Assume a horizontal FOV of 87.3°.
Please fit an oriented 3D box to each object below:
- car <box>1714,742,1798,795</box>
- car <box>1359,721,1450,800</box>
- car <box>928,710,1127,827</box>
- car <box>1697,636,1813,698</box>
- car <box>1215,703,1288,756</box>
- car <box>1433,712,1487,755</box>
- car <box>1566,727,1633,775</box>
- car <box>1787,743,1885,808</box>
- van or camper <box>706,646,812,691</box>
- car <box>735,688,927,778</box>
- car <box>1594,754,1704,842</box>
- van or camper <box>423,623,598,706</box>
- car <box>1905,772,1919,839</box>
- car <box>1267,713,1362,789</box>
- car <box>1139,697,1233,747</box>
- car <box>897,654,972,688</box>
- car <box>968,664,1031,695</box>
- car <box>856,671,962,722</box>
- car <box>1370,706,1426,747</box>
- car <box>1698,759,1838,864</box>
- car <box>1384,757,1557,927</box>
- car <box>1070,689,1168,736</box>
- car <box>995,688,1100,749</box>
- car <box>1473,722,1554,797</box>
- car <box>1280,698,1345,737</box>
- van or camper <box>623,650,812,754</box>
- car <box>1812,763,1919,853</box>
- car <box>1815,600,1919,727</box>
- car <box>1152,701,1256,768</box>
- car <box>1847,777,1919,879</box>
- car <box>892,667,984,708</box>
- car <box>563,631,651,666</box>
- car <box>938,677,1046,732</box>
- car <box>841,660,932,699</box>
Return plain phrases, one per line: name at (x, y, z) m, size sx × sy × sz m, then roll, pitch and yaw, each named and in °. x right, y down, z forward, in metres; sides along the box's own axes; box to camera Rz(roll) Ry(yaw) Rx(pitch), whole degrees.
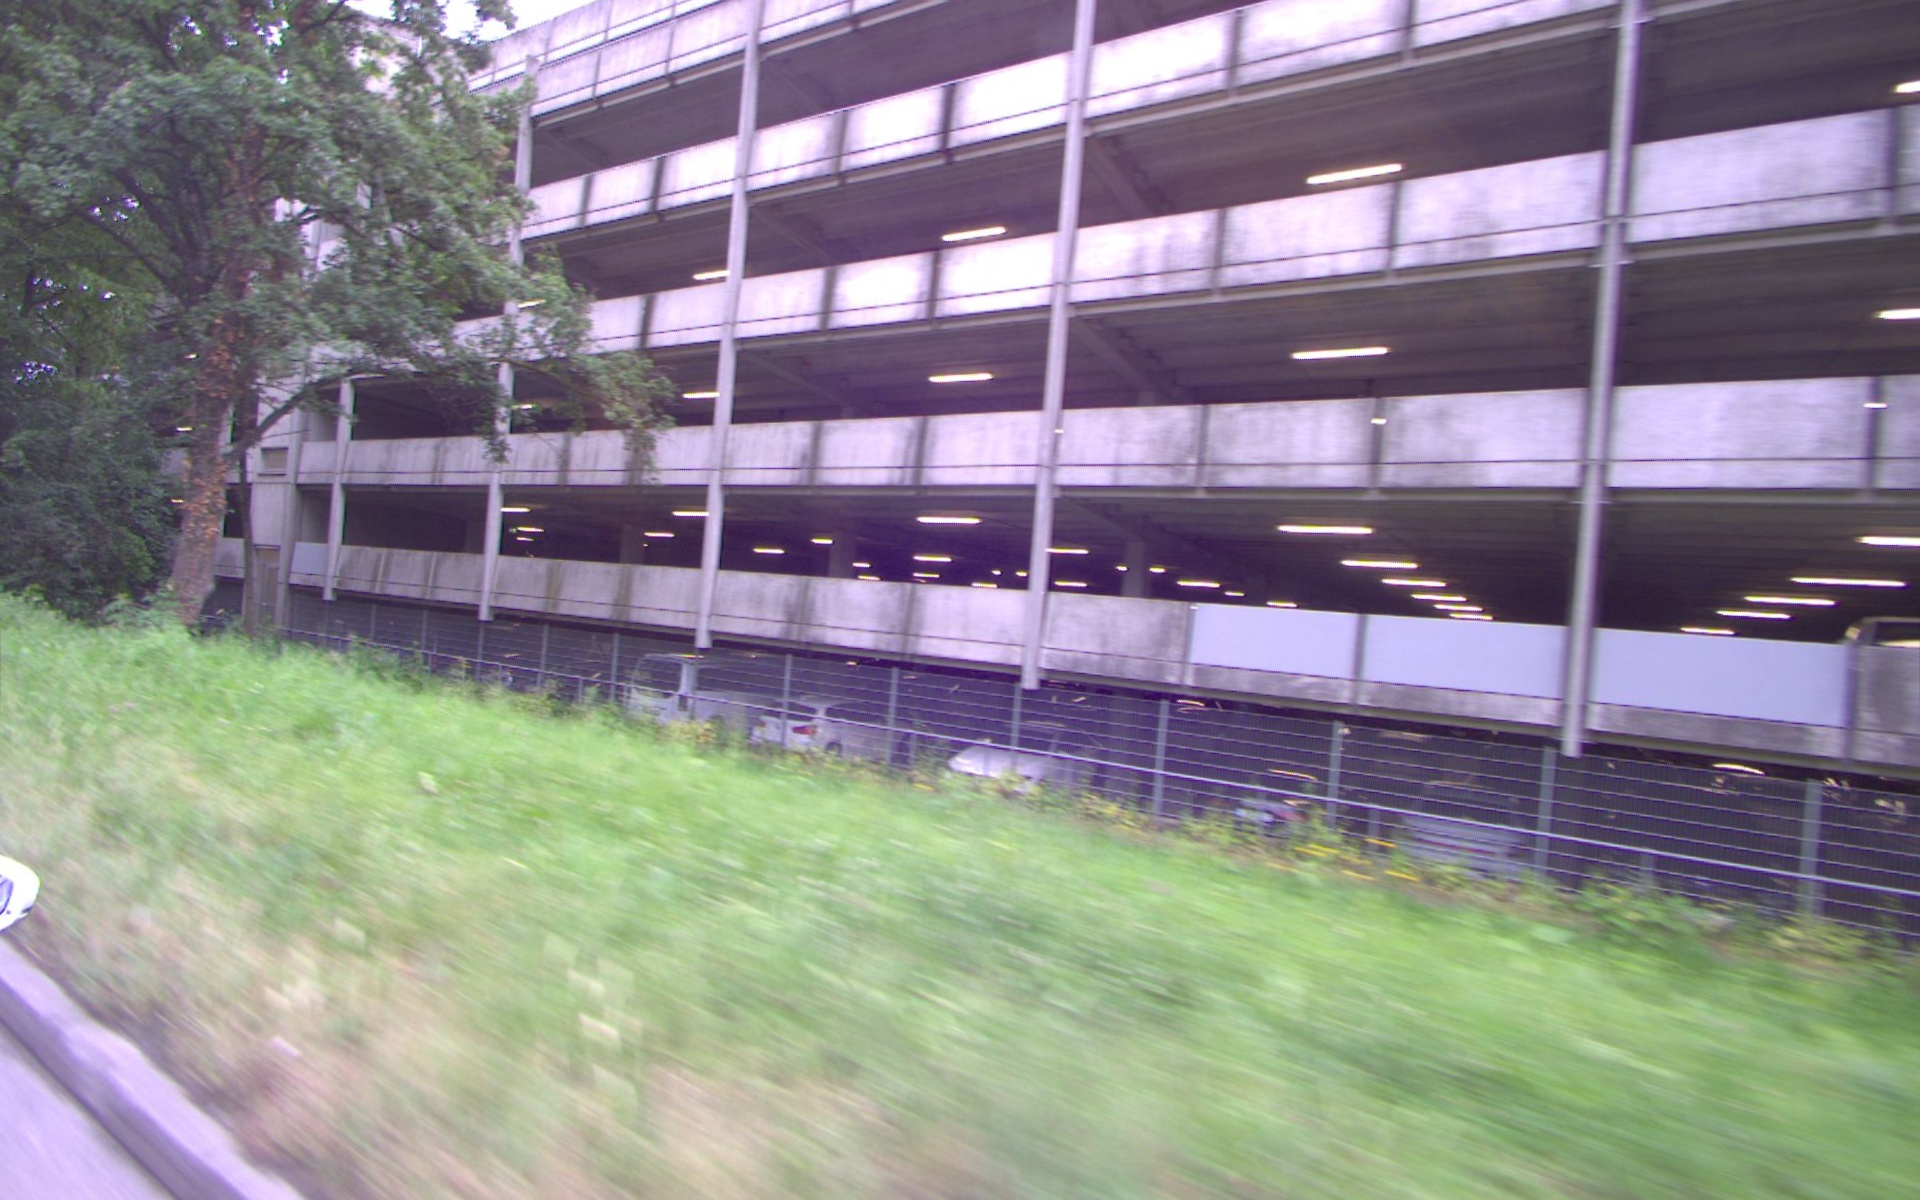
car at (26.736, 5.615, 33.890) m, size 1.669 × 1.284 × 3.519 m, roll 5°, pitch -2°, yaw 31°
car at (11.291, 3.976, 25.432) m, size 1.645 × 1.459 × 3.667 m, roll 5°, pitch -1°, yaw 29°
car at (1.389, 3.001, 18.741) m, size 1.917 × 1.525 × 4.260 m, roll 5°, pitch -1°, yaw 30°
car at (20.239, 1.742, 25.762) m, size 1.651 × 1.343 × 3.994 m, roll 4°, pitch -2°, yaw 30°
car at (9.253, 4.048, 31.846) m, size 1.418 × 1.349 × 3.130 m, roll 5°, pitch -1°, yaw 30°
car at (19.533, 5.160, 39.239) m, size 1.668 × 1.284 × 3.522 m, roll 5°, pitch -2°, yaw 28°
car at (23.015, 5.406, 36.292) m, size 1.668 × 1.284 × 3.522 m, roll 5°, pitch -2°, yaw 28°
car at (28.384, 5.629, 32.697) m, size 1.669 × 1.589 × 3.519 m, roll 5°, pitch -2°, yaw 31°
van or camper at (-7.428, 2.552, 37.474) m, size 1.699 × 1.426 × 3.715 m, roll 5°, pitch -1°, yaw 32°
car at (-2.623, 2.720, 21.333) m, size 1.917 × 1.454 × 4.011 m, roll 5°, pitch -1°, yaw 30°
car at (15.355, 4.353, 22.570) m, size 1.645 × 1.299 × 3.667 m, roll 5°, pitch -1°, yaw 30°
van or camper at (-12.441, 1.801, 28.061) m, size 1.810 × 1.978 × 4.008 m, roll 5°, pitch -1°, yaw 32°
car at (23.938, 5.086, 23.493) m, size 1.758 × 1.563 × 3.697 m, roll 4°, pitch -1°, yaw 29°
car at (9.306, 3.862, 26.255) m, size 1.645 × 1.459 × 3.667 m, roll 5°, pitch -1°, yaw 29°
car at (7.464, 3.961, 33.020) m, size 1.578 × 1.323 × 3.690 m, roll 4°, pitch -1°, yaw 36°
car at (-1.295, 3.698, 52.273) m, size 1.868 × 1.387 × 3.992 m, roll 6°, pitch -2°, yaw 33°
car at (2.022, 3.997, 50.632) m, size 1.668 × 1.341 × 3.521 m, roll 5°, pitch -2°, yaw 30°
car at (-1.598, 3.110, 32.858) m, size 1.645 × 1.373 × 3.667 m, roll 5°, pitch -1°, yaw 30°
car at (17.578, 5.042, 40.302) m, size 1.668 × 1.284 × 3.522 m, roll 5°, pitch -2°, yaw 28°
car at (17.007, 4.387, 21.354) m, size 1.645 × 1.497 × 3.667 m, roll 5°, pitch -1°, yaw 30°
car at (7.911, 3.485, 15.345) m, size 1.916 × 1.525 × 4.595 m, roll 6°, pitch 0°, yaw 31°
car at (5.545, 3.833, 34.727) m, size 1.762 × 1.323 × 3.690 m, roll 4°, pitch -1°, yaw 37°
car at (2.670, 3.476, 30.058) m, size 1.645 × 1.459 × 3.667 m, roll 5°, pitch -1°, yaw 29°
car at (15.530, 4.393, 28.238) m, size 1.758 × 1.563 × 3.697 m, roll 4°, pitch -1°, yaw 29°
car at (14.526, 4.792, 41.362) m, size 1.669 × 1.284 × 3.518 m, roll 5°, pitch -2°, yaw 33°
van or camper at (-5.433, 2.257, 23.001) m, size 1.809 × 1.978 × 4.010 m, roll 5°, pitch -1°, yaw 30°
car at (21.634, 4.855, 23.690) m, size 1.645 × 1.501 × 3.667 m, roll 5°, pitch 0°, yaw 30°
car at (12.028, 0.873, 12.408) m, size 1.804 × 1.360 × 3.832 m, roll 6°, pitch 0°, yaw 35°
car at (6.862, 3.680, 28.012) m, size 1.646 × 1.459 × 3.665 m, roll 5°, pitch -1°, yaw 32°
car at (19.173, 4.552, 19.884) m, size 1.645 × 1.501 × 3.667 m, roll 5°, pitch 0°, yaw 30°
car at (-0.789, 3.305, 38.635) m, size 1.759 × 1.323 × 3.695 m, roll 4°, pitch -1°, yaw 31°
car at (-15.029, 2.081, 42.948) m, size 1.544 × 1.323 × 3.202 m, roll 4°, pitch -1°, yaw 35°
car at (1.083, 3.280, 32.139) m, size 1.647 × 1.459 × 3.662 m, roll 5°, pitch -1°, yaw 35°
car at (-2.912, 3.152, 40.353) m, size 1.759 × 1.323 × 3.695 m, roll 4°, pitch -1°, yaw 31°
